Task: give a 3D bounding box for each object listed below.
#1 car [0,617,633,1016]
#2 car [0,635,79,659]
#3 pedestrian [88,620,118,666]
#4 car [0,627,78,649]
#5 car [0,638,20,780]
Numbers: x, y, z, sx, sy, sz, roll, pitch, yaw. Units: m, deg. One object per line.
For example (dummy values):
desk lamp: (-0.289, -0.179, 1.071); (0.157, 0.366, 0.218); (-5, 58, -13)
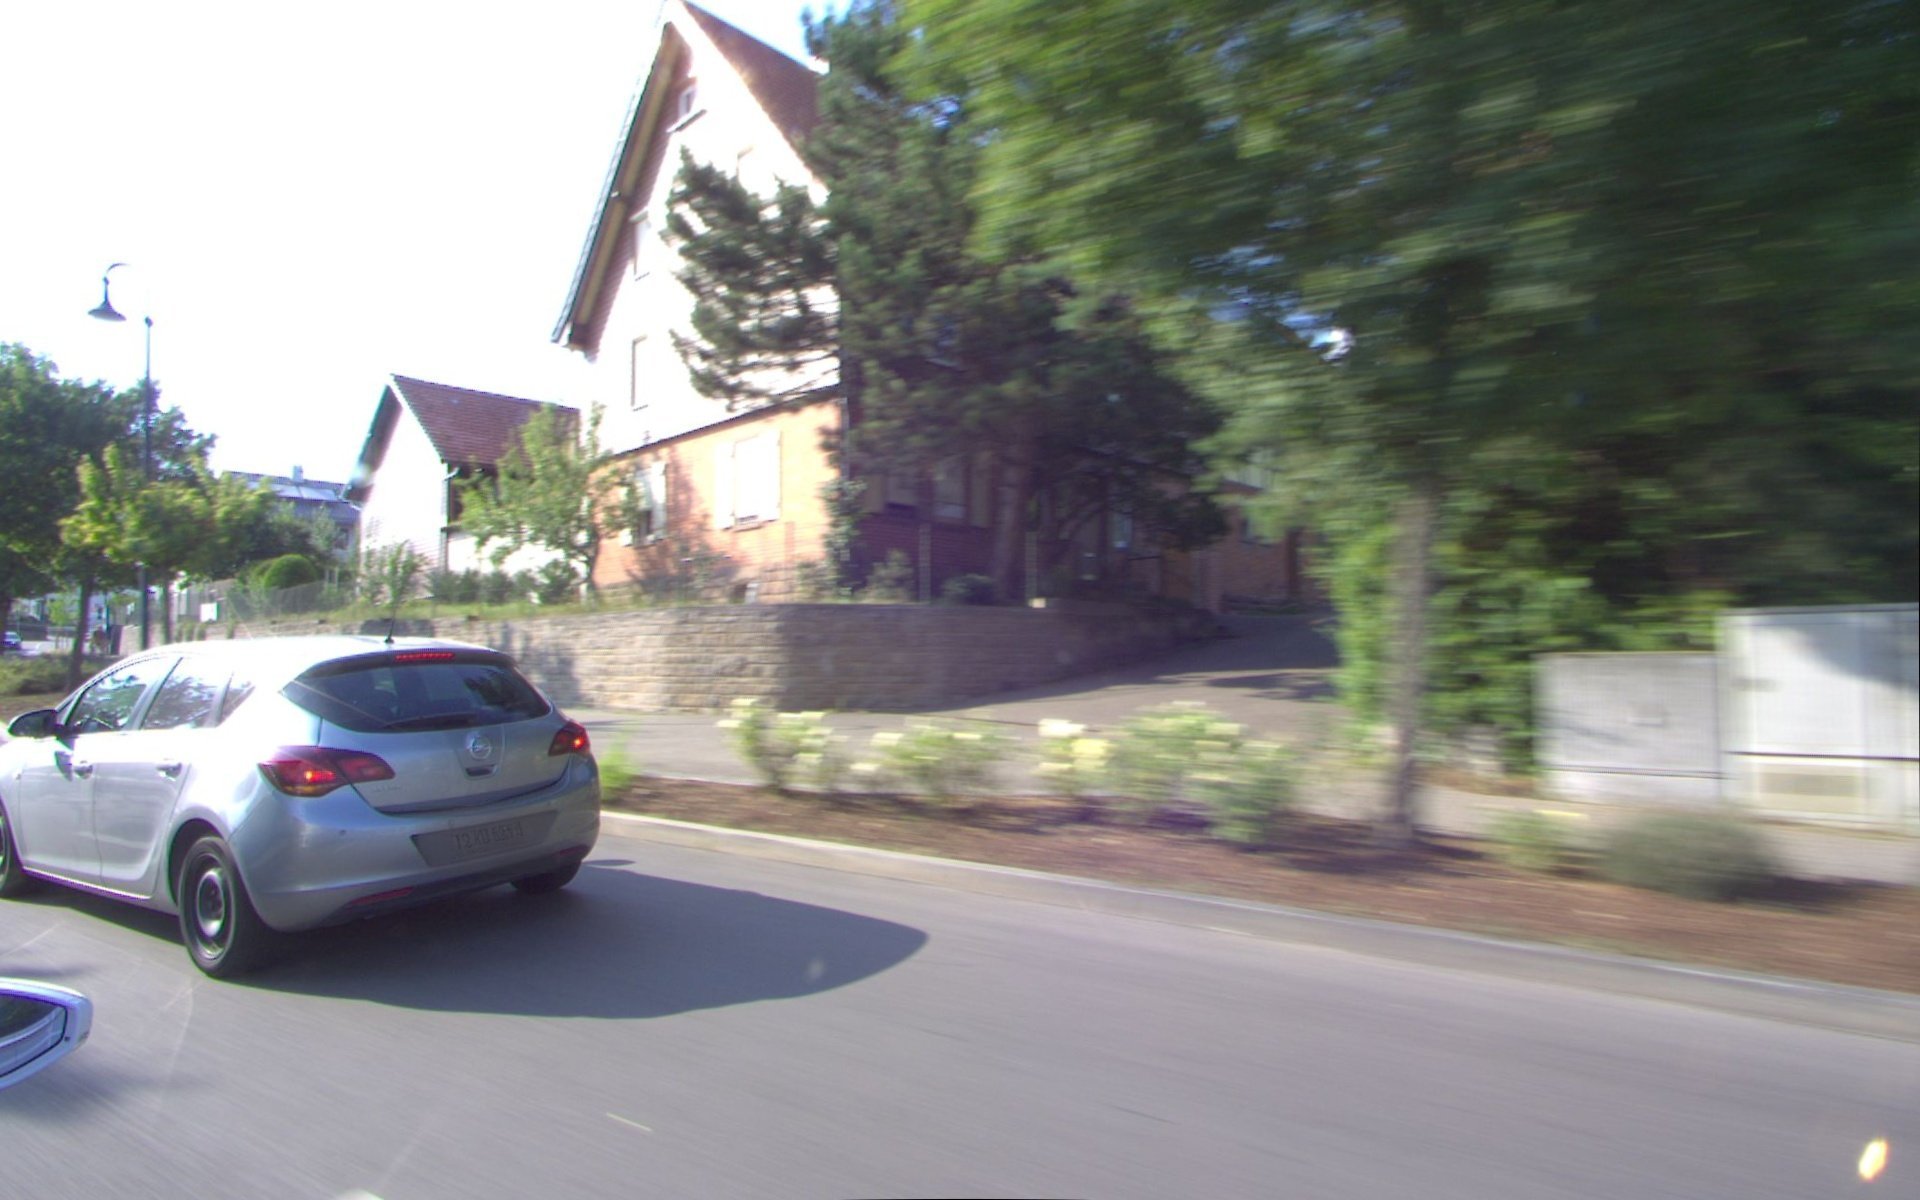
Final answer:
car: (-3.954, 0.856, 5.672); (4.245, 1.509, 1.718); (0, -1, 33)
car: (-72.402, 3.661, 78.474); (1.968, 1.852, 4.631); (-1, -2, 26)
pedestrian: (-33.247, 1.660, 38.844); (0.938, 1.724, 0.693); (-1, -1, 37)
car: (-78.387, 3.205, 85.218); (1.968, 1.852, 4.631); (-1, -2, 26)
car: (-11.655, 1.100, 10.213); (4.289, 1.381, 1.918); (-1, -2, 31)
